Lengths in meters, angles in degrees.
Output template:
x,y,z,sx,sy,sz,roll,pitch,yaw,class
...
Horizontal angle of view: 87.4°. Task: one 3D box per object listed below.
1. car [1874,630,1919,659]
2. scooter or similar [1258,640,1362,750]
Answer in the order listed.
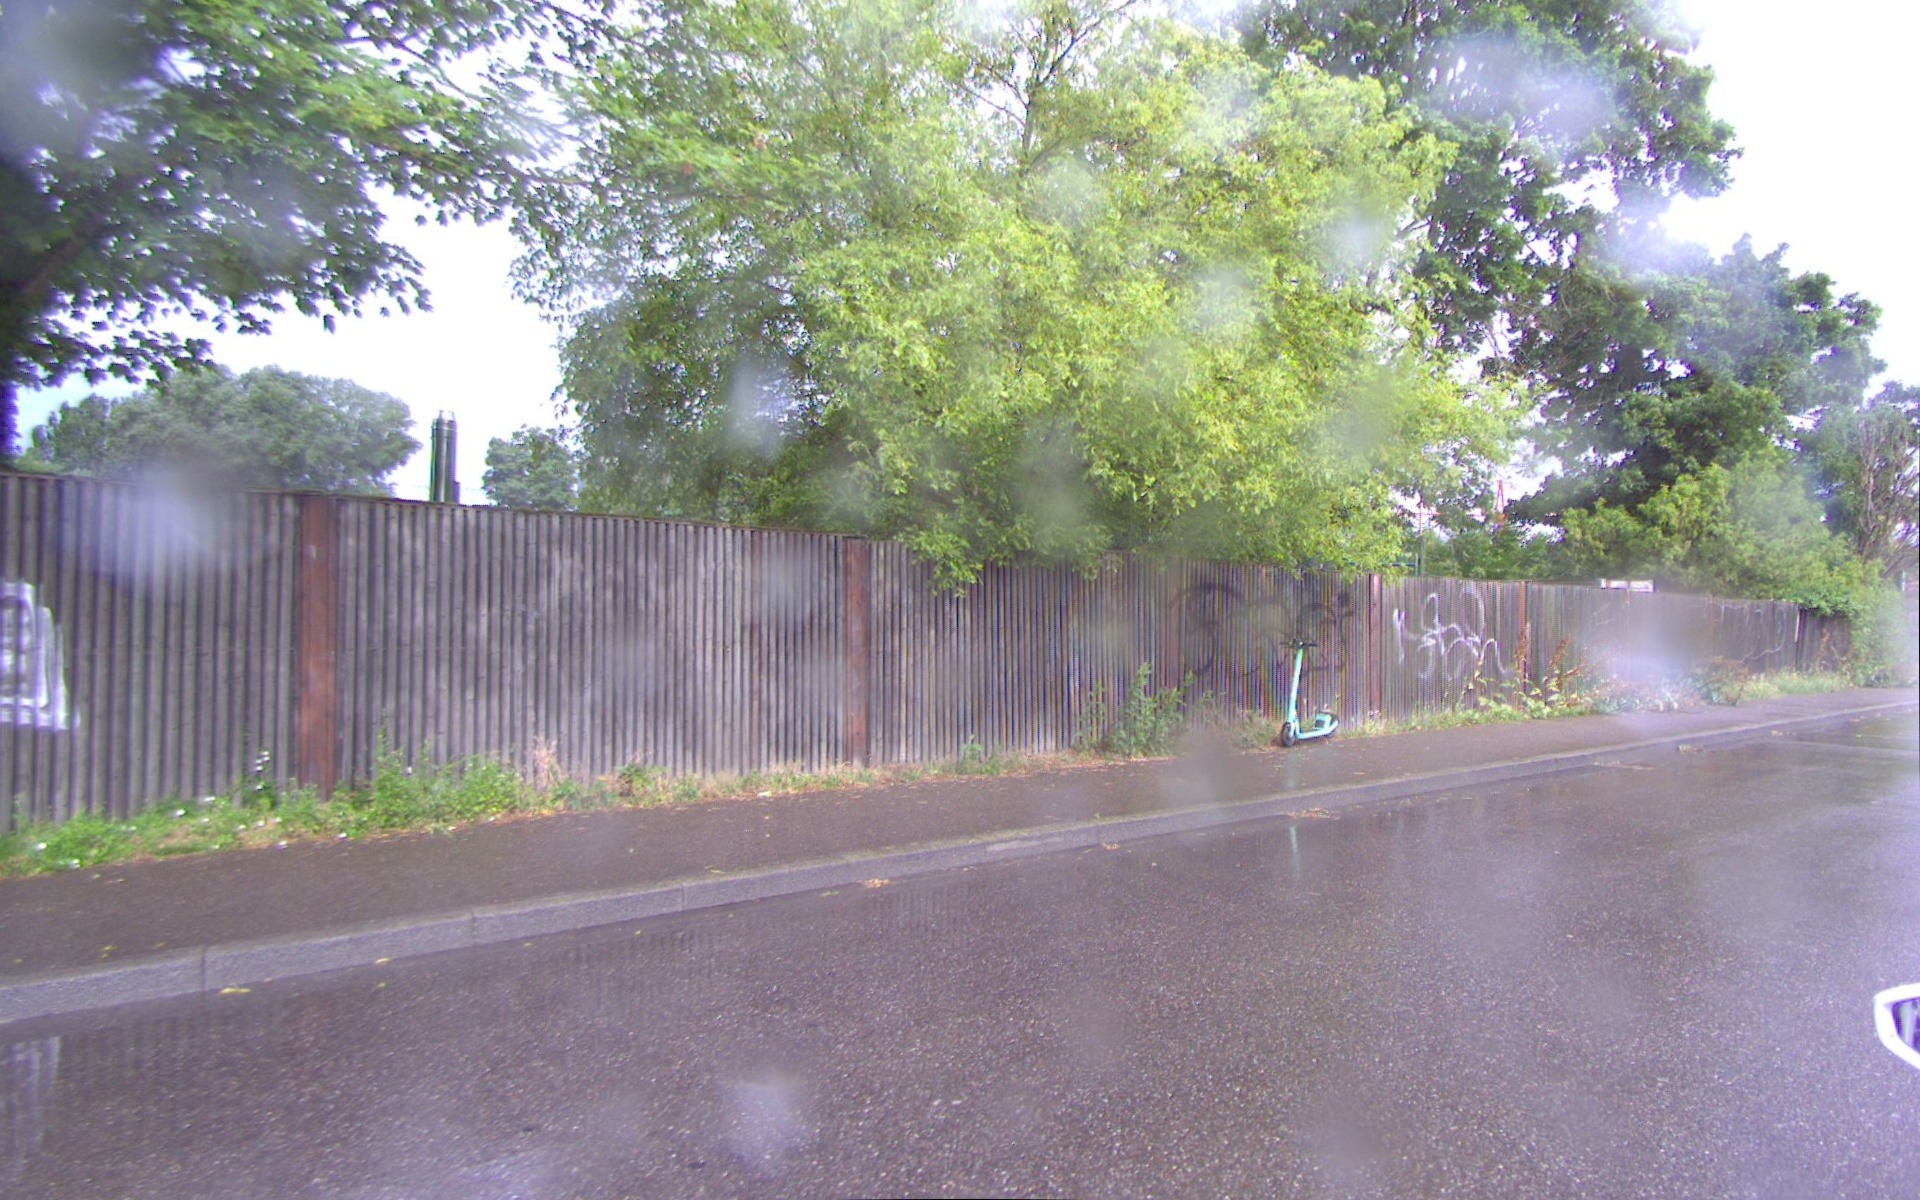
x,y,z,sx,sy,sz,roll,pitch,yaw,class
52.379,2.402,54.446,1.751,1.572,4.429,-1,-3,4,car
3.991,1.047,11.420,1.197,1.178,0.558,2,-1,-38,scooter or similar
